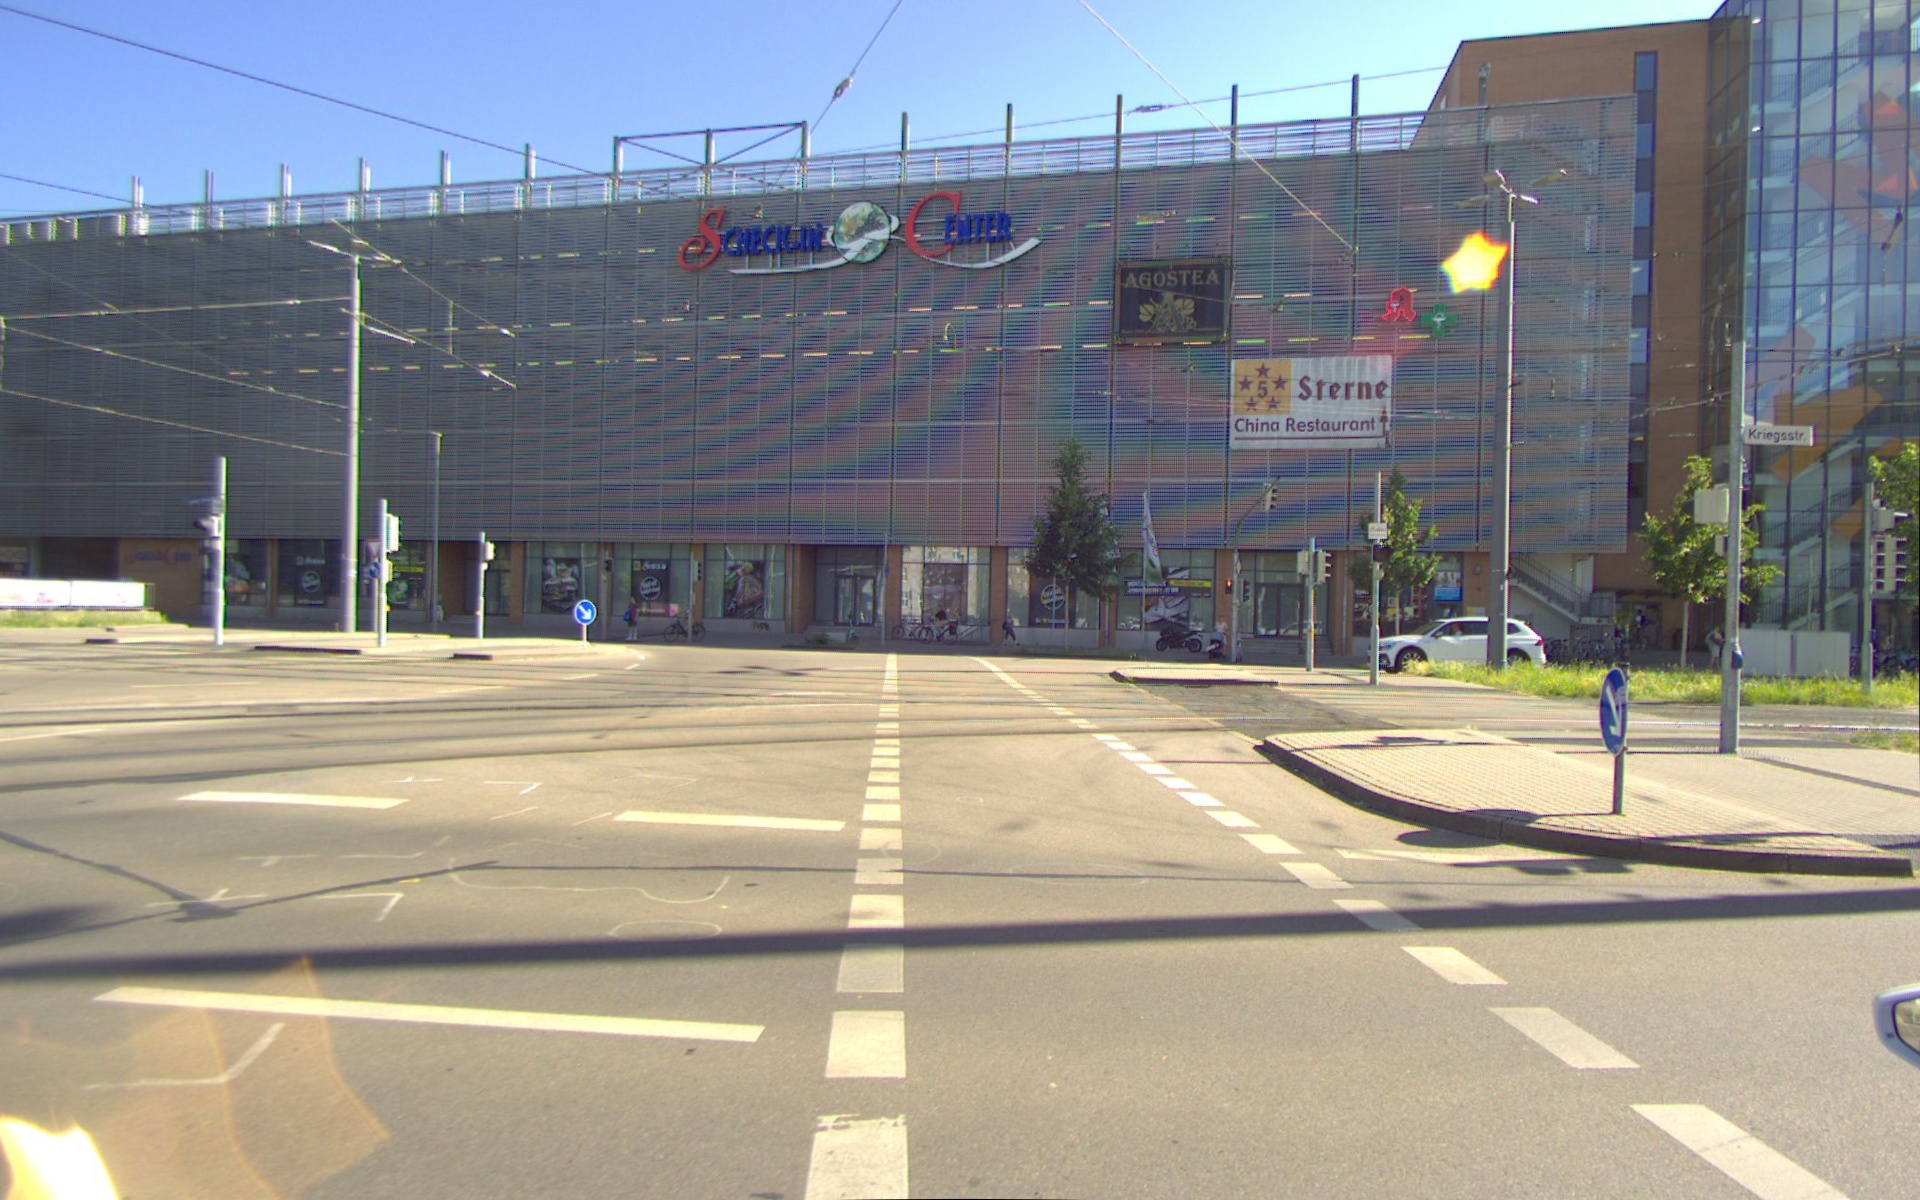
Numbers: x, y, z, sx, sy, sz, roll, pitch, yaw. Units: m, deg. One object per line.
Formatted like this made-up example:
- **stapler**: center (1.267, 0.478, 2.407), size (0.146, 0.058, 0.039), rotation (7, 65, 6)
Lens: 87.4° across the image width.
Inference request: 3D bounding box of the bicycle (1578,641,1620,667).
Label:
- **bicycle**: center (26.646, 2.238, 41.921), size (0.483, 0.967, 2.181), rotation (2, 0, 5)

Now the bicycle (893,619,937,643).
- **bicycle**: center (-2.077, 1.416, 46.344), size (1.911, 1.052, 0.573), rotation (2, 0, 6)

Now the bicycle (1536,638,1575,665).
- **bicycle**: center (24.834, 2.139, 41.931), size (0.483, 0.967, 2.181), rotation (2, 0, 5)

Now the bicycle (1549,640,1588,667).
- **bicycle**: center (25.378, 2.225, 41.927), size (0.483, 0.967, 2.181), rotation (2, 0, 5)

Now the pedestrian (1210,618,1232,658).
- **pedestrian**: center (10.083, 1.455, 38.758), size (0.726, 1.506, 0.490), rotation (1, 0, 20)

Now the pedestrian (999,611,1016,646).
- **pedestrian**: center (2.118, 1.252, 44.487), size (0.636, 1.539, 0.491), rotation (1, -1, 15)

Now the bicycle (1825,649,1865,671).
- **bicycle**: center (36.048, 2.435, 40.918), size (0.437, 0.830, 1.451), rotation (2, 0, 5)

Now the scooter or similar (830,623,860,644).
- **scooter or similar**: center (-4.899, 1.417, 42.648), size (1.202, 0.862, 0.301), rotation (2, 0, 8)

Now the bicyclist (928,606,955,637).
- **bicyclist**: center (-0.796, 0.940, 43.852), size (1.018, 1.335, 0.683), rotation (2, 0, 10)

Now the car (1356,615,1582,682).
- **car**: center (14.417, 1.334, 28.723), size (5.434, 1.674, 1.815), rotation (2, -1, 7)

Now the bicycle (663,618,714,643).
- **bicycle**: center (-11.469, 1.294, 42.398), size (1.992, 0.998, 0.557), rotation (2, -1, -23)

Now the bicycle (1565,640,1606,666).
- **bicycle**: center (26.078, 2.190, 41.933), size (0.483, 0.967, 2.181), rotation (2, 0, 5)

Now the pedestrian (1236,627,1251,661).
- **pedestrian**: center (10.699, 1.649, 37.900), size (0.441, 1.245, 0.396), rotation (1, 0, 36)

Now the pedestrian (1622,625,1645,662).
- **pedestrian**: center (29.019, 1.877, 43.283), size (0.648, 1.574, 0.638), rotation (1, 0, 17)

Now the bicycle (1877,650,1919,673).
- **bicycle**: center (38.162, 2.505, 40.891), size (0.437, 0.830, 1.451), rotation (2, 0, 5)

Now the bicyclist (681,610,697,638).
- **bicyclist**: center (-11.436, 1.003, 42.402), size (0.555, 1.155, 0.557), rotation (2, -1, -22)

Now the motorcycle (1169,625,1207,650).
- **motorcycle**: center (10.014, 1.639, 44.114), size (1.586, 1.052, 0.402), rotation (2, 0, 11)

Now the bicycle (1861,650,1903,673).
- **bicycle**: center (37.381, 2.468, 40.728), size (0.437, 0.830, 1.451), rotation (2, 0, 5)

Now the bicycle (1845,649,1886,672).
- **bicycle**: center (36.802, 2.438, 40.823), size (0.437, 0.830, 1.451), rotation (2, 0, 5)

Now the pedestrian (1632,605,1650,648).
- **pedestrian**: center (31.310, 1.220, 46.181), size (0.530, 1.940, 0.374), rotation (3, 0, 18)

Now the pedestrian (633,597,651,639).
- **pedestrian**: center (-13.640, 0.777, 43.062), size (0.614, 1.774, 0.588), rotation (2, 0, -8)

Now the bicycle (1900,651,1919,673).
- **bicycle**: center (38.788, 2.527, 40.532), size (0.437, 0.830, 1.451), rotation (2, 0, 5)

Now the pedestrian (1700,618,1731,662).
- **pedestrian**: center (30.131, 1.598, 40.071), size (0.763, 1.707, 0.597), rotation (2, 0, -3)

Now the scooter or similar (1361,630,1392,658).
- **scooter or similar**: center (18.156, 1.917, 43.830), size (1.181, 1.117, 0.277), rotation (3, 0, 13)

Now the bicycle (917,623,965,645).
- **bicycle**: center (-0.833, 1.465, 43.847), size (2.006, 0.879, 0.683), rotation (2, -1, 10)
